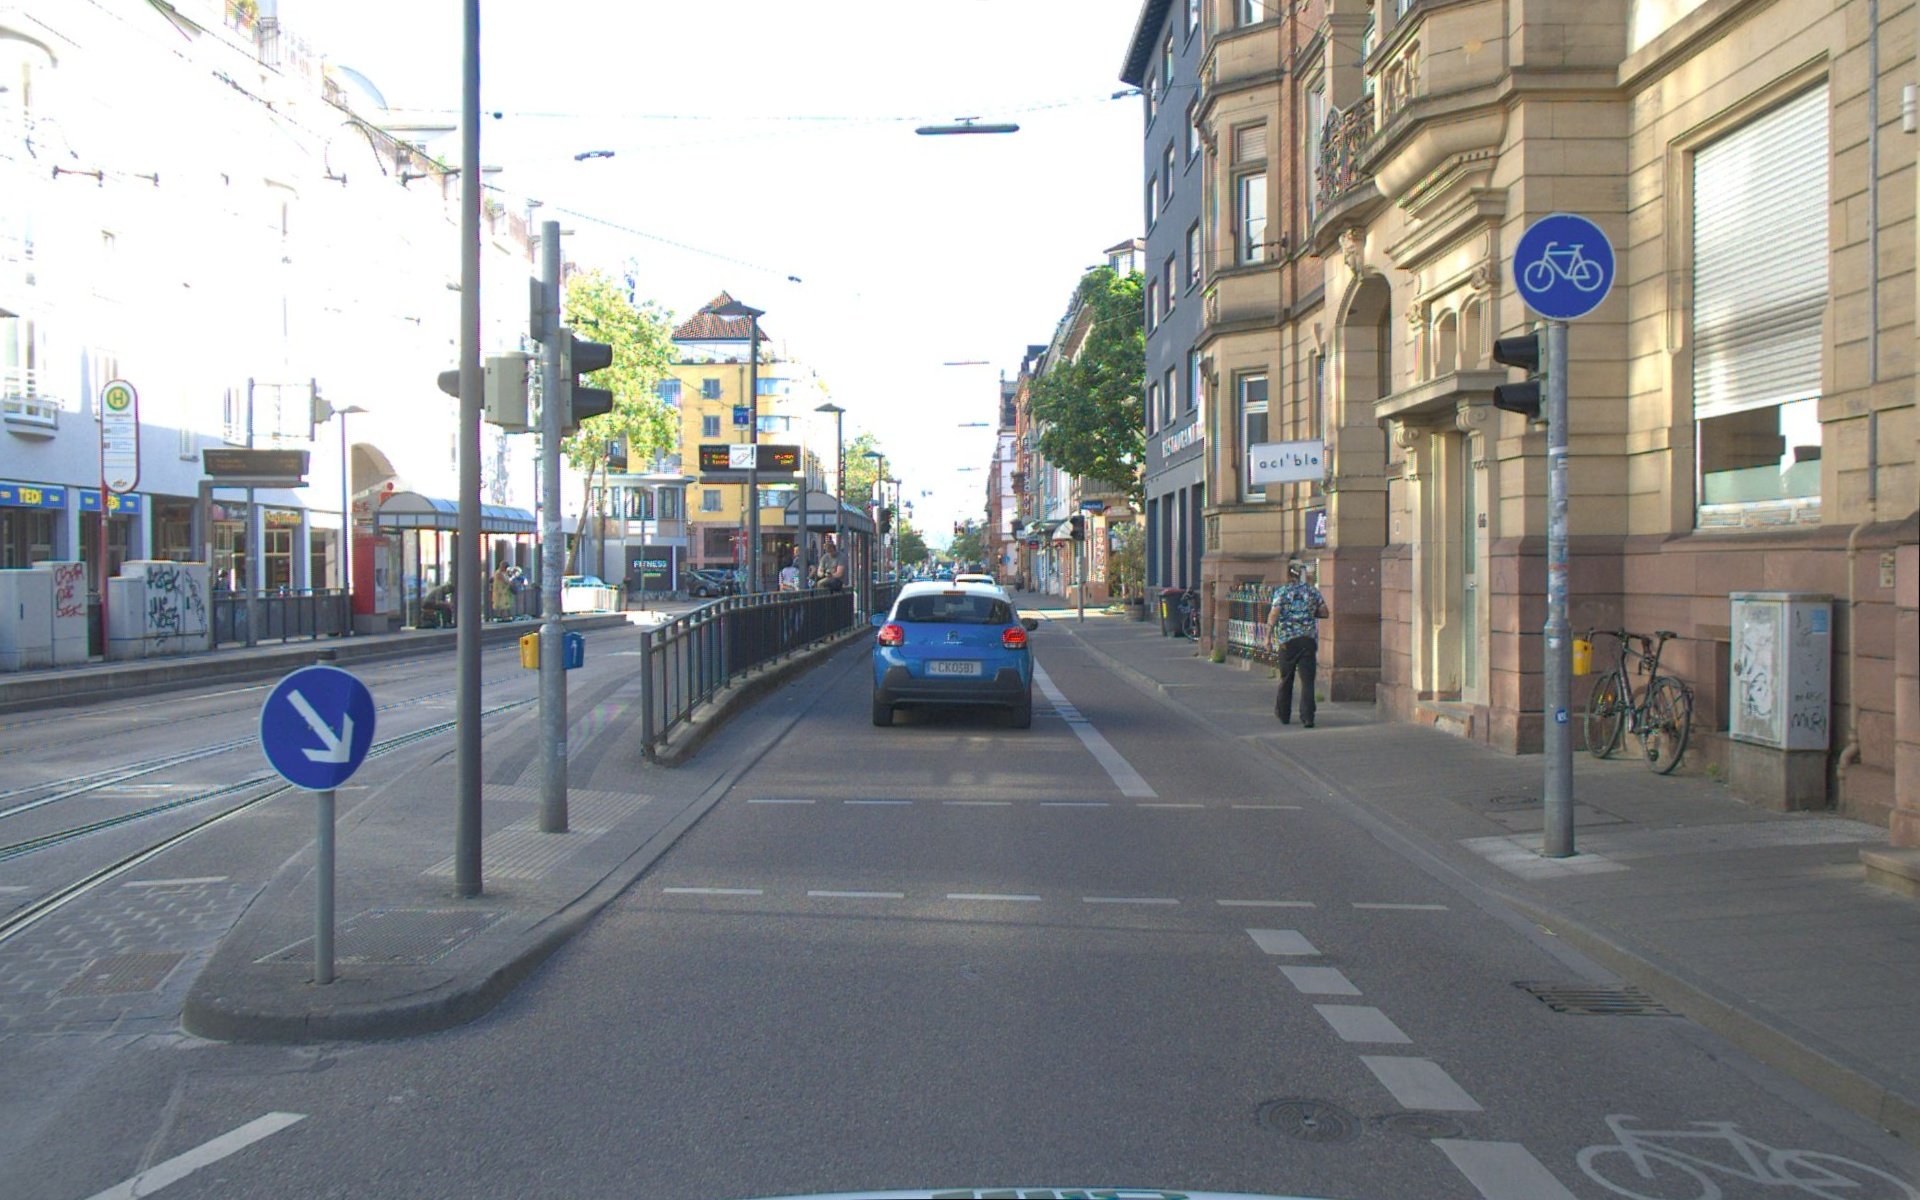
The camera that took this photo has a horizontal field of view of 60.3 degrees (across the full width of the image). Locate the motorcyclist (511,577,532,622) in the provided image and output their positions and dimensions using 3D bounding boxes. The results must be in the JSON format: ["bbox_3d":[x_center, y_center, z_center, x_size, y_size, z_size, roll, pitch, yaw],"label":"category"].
[{"bbox_3d":[-14.904,-0.024,56.214,0.477,1.528,0.722,1,0,1],"label":"motorcyclist"}]

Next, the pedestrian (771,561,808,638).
[{"bbox_3d":[-3.575,-0.017,34.706,0.575,1.589,0.468,0,1,36],"label":"pedestrian"}]

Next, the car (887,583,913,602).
[{"bbox_3d":[-5.182,-0.682,143.214,1.910,1.512,4.002,-2,1,3],"label":"car"}]

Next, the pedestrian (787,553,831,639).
[{"bbox_3d":[-3.226,-0.097,35.297,0.705,1.808,0.563,0,1,36],"label":"pedestrian"}]

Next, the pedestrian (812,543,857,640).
[{"bbox_3d":[-2.277,-0.154,30.149,0.623,1.727,0.934,1,0,7],"label":"pedestrian"}]

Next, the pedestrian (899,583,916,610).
[{"bbox_3d":[-3.317,-0.223,104.982,0.828,1.683,0.691,-1,1,-28],"label":"pedestrian"}]

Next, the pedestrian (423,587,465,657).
[{"bbox_3d":[-11.769,0.491,37.743,0.716,1.554,0.743,0,1,-1],"label":"pedestrian"}]

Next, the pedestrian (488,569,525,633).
[{"bbox_3d":[-11.466,0.023,41.810,0.716,1.586,0.743,0,1,-1],"label":"pedestrian"}]

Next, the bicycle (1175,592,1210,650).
[{"bbox_3d":[4.813,0.419,34.286,0.450,1.142,1.773,-2,1,1],"label":"bicycle"}]

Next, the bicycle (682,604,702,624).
[{"bbox_3d":[-14.986,0.759,92.553,0.665,1.020,2.687,0,1,1],"label":"bicycle"}]

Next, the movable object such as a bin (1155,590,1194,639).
[{"bbox_3d":[4.931,0.329,38.029,0.733,1.054,0.754,-4,1,0],"label":"movable object such as a bin"}]

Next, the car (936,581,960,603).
[{"bbox_3d":[-1.037,-0.651,139.979,1.953,1.773,4.000,1,0,0],"label":"car"}]

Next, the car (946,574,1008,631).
[{"bbox_3d":[0.561,0.079,54.539,1.953,1.773,4.000,1,0,0],"label":"car"}]

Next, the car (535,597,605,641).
[{"bbox_3d":[-14.329,0.669,60.875,1.656,1.445,3.647,0,2,1],"label":"car"}]

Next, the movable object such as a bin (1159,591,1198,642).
[{"bbox_3d":[4.919,0.366,37.260,0.733,1.054,0.754,-4,1,0],"label":"movable object such as a bin"}]

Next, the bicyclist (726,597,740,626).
[{"bbox_3d":[-12.724,0.633,92.575,0.658,1.584,0.778,0,1,1],"label":"bicyclist"}]

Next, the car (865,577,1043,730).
[{"bbox_3d":[-0.053,0.503,18.214,1.744,1.476,3.654,1,1,0],"label":"car"}]

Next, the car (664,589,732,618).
[{"bbox_3d":[-16.070,0.195,101.486,3.908,1.703,1.956,-1,1,-3],"label":"car"}]

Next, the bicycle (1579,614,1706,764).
[{"bbox_3d":[5.286,0.654,12.887,0.250,1.071,1.769,1,0,0],"label":"bicycle"}]

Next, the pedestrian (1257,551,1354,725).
[{"bbox_3d":[3.675,0.376,17.664,0.764,1.780,1.093,0,2,-3],"label":"pedestrian"}]
